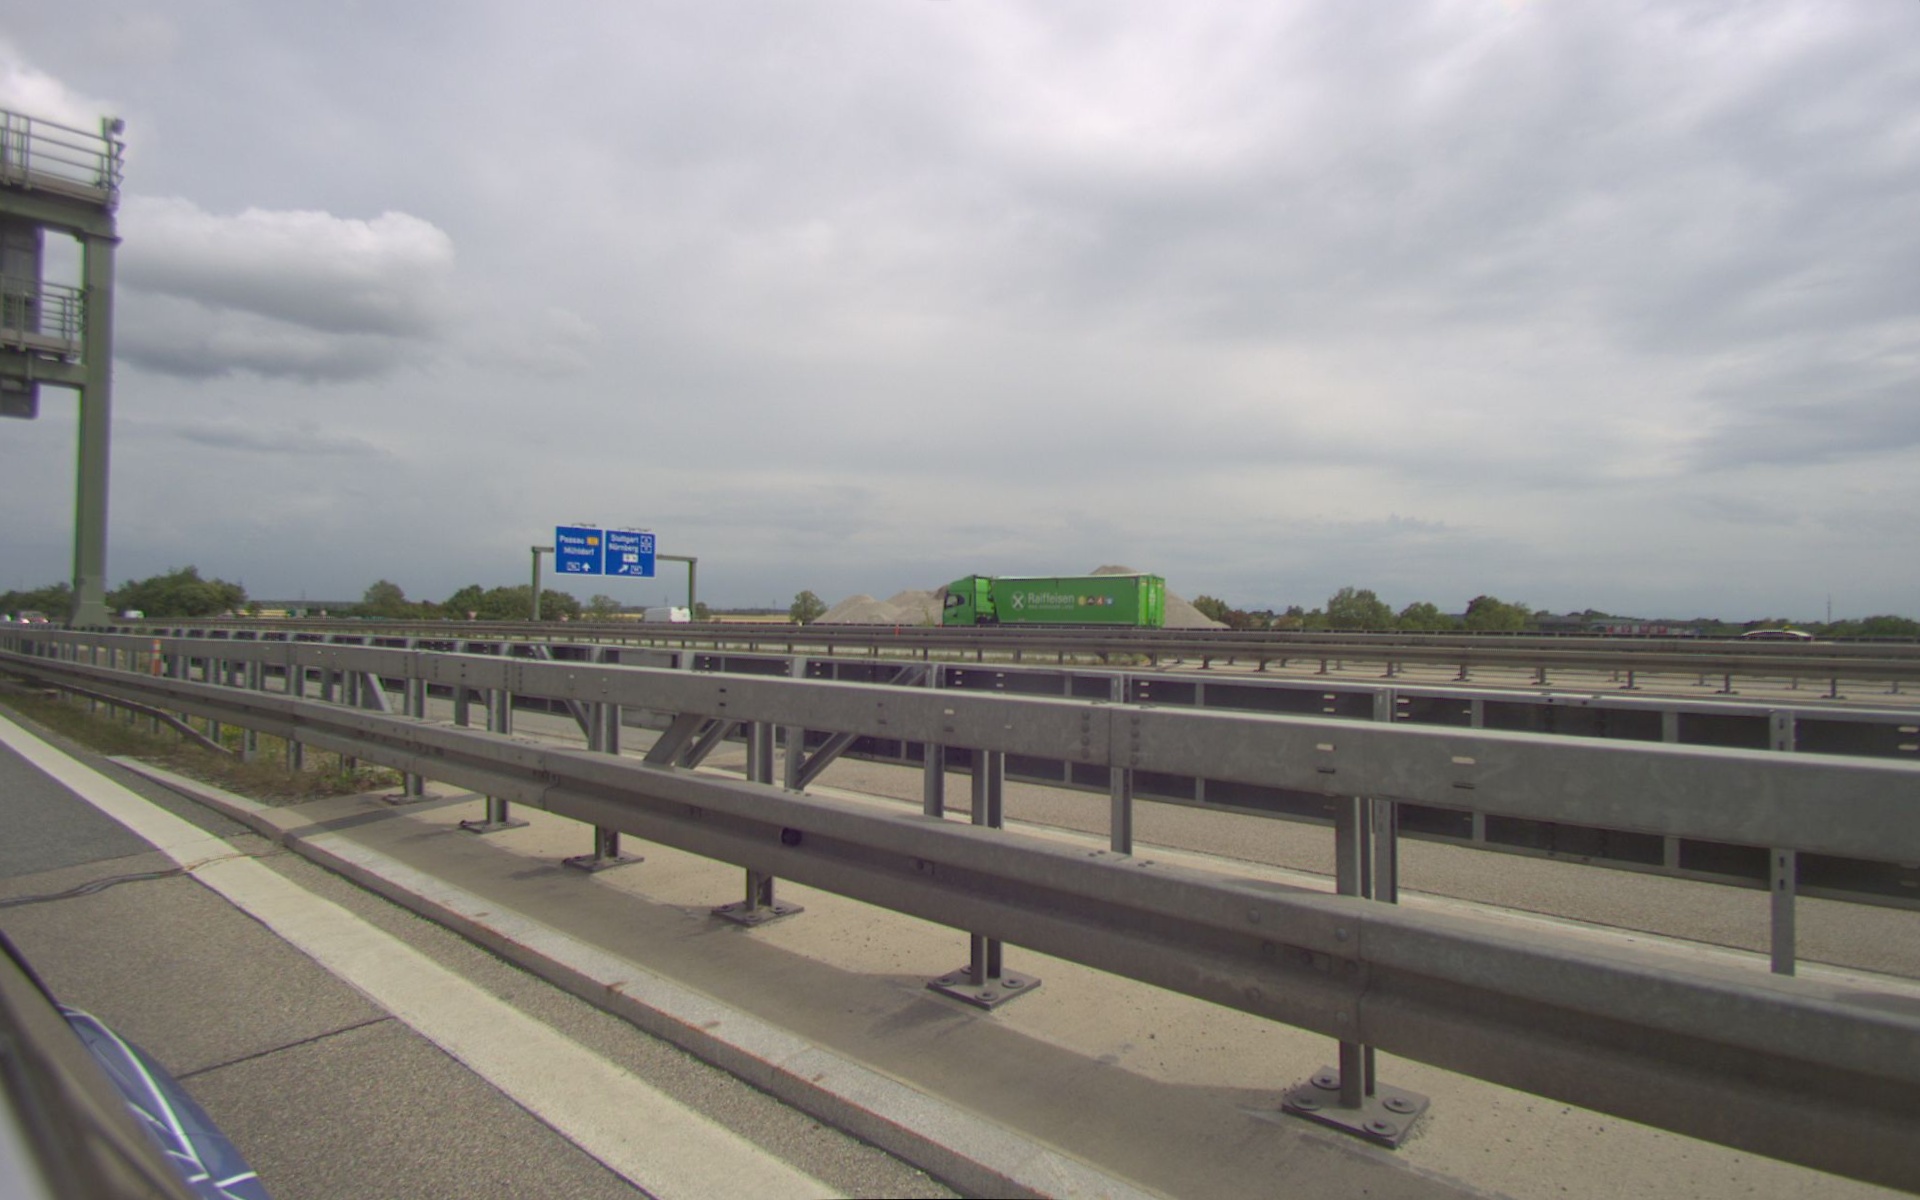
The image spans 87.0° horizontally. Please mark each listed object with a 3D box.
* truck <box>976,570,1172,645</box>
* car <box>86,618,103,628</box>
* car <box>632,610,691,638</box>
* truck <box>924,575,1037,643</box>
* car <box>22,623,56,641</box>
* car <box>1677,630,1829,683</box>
[{"bbox_3d":[5.786,0.428,53.495,10.431,3.662,2.982,-1,-1,41],"label":"truck"},{"bbox_3d":[-169.286,4.547,197.878,3.994,1.874,1.809,-1,-1,38],"label":"car"},{"bbox_3d":[-25.384,2.021,86.023,5.514,2.240,2.173,-1,-1,41],"label":"car"},{"bbox_3d":[1.116,0.521,57.576,5.891,3.636,3.010,-1,-1,41],"label":"truck"},{"bbox_3d":[-86.781,3.011,95.317,4.351,1.557,1.801,-1,-1,40],"label":"car"},{"bbox_3d":[27.065,1.870,34.606,3.999,1.641,1.711,-1,-1,42],"label":"car"}]
